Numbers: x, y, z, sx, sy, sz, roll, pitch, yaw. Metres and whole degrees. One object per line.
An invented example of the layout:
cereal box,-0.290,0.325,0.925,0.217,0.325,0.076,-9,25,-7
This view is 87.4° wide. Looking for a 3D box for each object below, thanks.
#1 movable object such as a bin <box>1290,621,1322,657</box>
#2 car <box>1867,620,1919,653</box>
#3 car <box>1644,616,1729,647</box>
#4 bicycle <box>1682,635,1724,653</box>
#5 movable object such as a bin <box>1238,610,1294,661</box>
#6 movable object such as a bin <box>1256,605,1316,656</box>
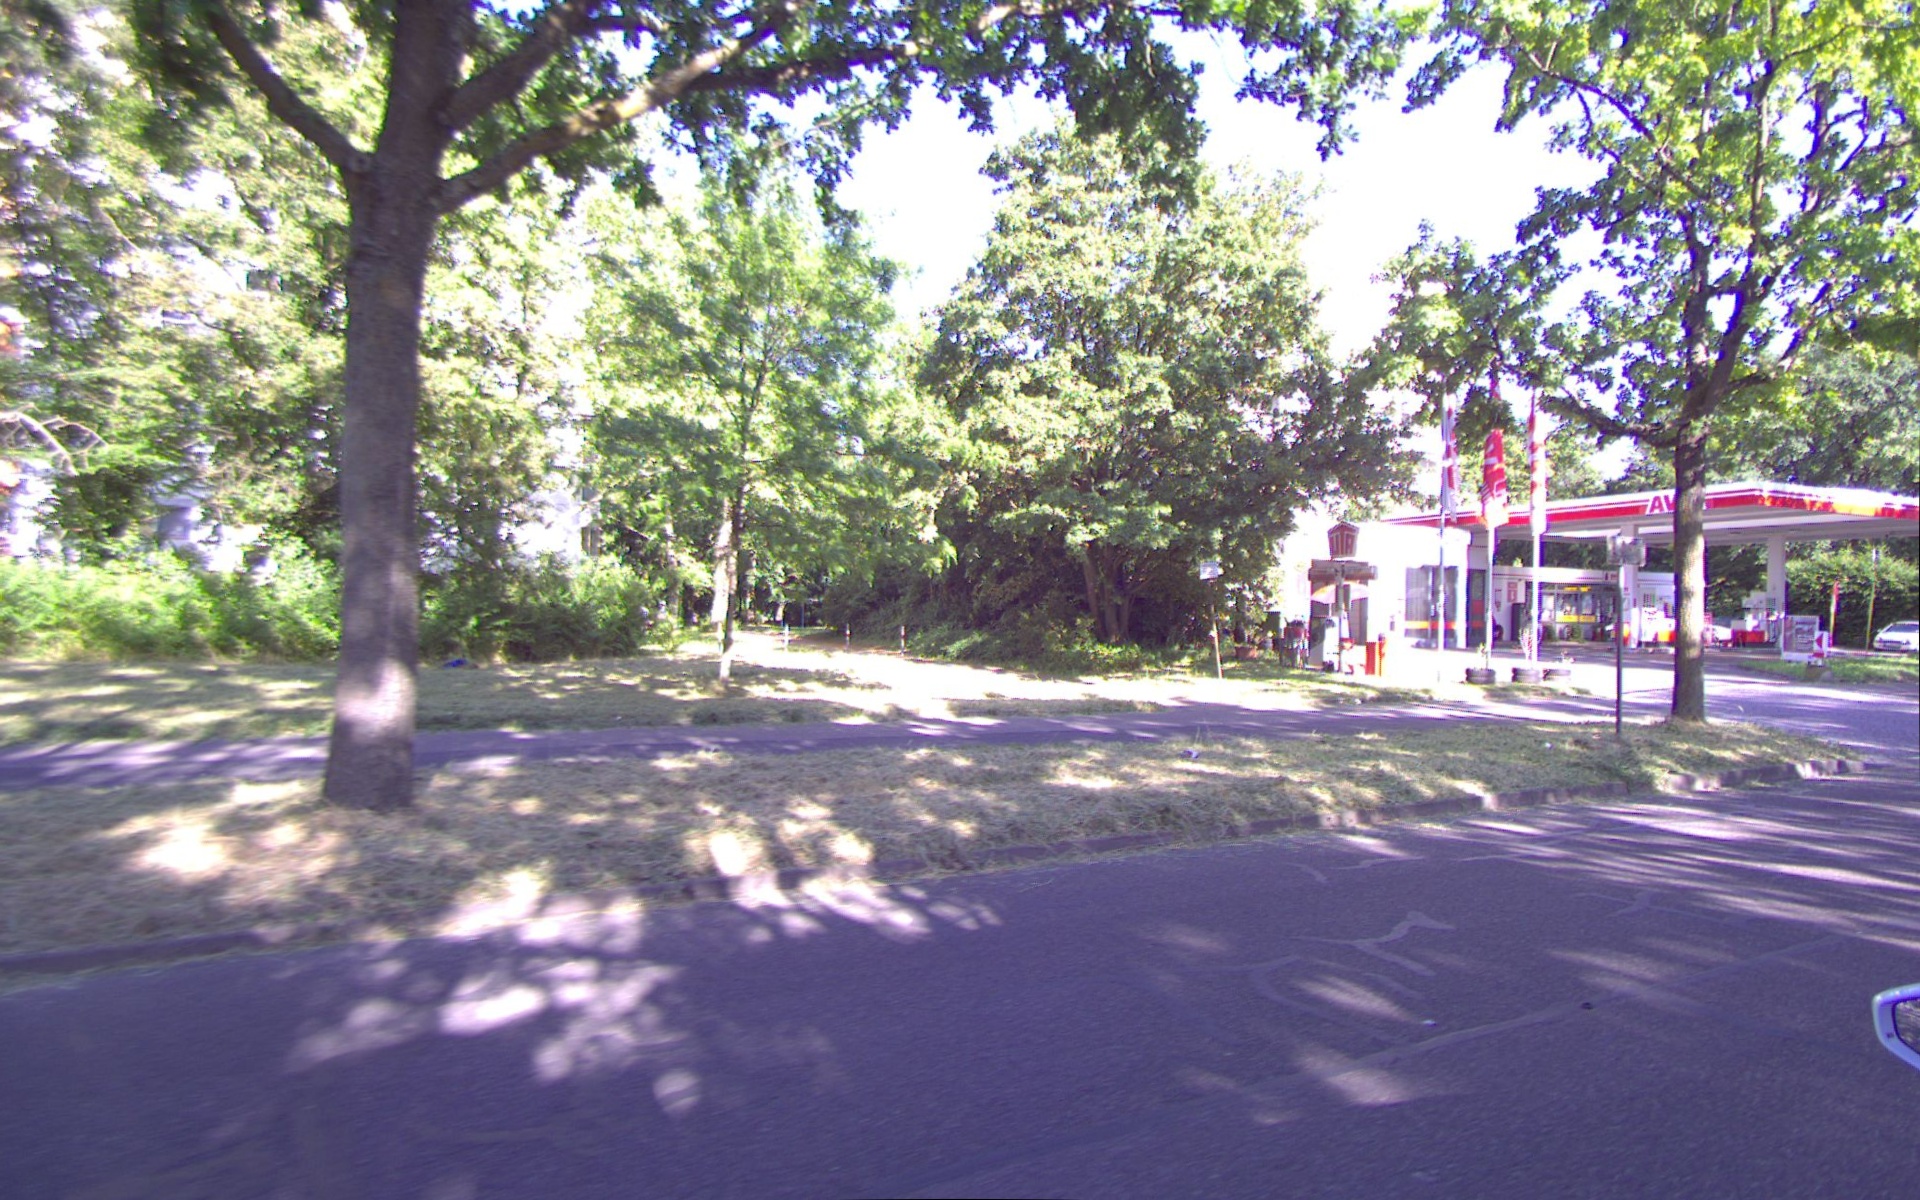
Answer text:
movable object such as a bin,10.627,1.197,30.837,0.758,1.100,0.566,1,0,-28
car,43.177,1.680,45.758,3.157,1.386,1.420,1,1,-20
car,37.256,1.588,51.569,1.561,1.419,3.190,1,1,-20
bicycle,34.564,2.040,46.730,1.749,0.818,0.618,1,0,-14
movable object such as a bin,9.856,1.121,32.383,1.149,1.562,1.299,1,1,-27
movable object such as a bin,10.287,0.957,31.724,1.251,1.562,1.299,1,0,-27
